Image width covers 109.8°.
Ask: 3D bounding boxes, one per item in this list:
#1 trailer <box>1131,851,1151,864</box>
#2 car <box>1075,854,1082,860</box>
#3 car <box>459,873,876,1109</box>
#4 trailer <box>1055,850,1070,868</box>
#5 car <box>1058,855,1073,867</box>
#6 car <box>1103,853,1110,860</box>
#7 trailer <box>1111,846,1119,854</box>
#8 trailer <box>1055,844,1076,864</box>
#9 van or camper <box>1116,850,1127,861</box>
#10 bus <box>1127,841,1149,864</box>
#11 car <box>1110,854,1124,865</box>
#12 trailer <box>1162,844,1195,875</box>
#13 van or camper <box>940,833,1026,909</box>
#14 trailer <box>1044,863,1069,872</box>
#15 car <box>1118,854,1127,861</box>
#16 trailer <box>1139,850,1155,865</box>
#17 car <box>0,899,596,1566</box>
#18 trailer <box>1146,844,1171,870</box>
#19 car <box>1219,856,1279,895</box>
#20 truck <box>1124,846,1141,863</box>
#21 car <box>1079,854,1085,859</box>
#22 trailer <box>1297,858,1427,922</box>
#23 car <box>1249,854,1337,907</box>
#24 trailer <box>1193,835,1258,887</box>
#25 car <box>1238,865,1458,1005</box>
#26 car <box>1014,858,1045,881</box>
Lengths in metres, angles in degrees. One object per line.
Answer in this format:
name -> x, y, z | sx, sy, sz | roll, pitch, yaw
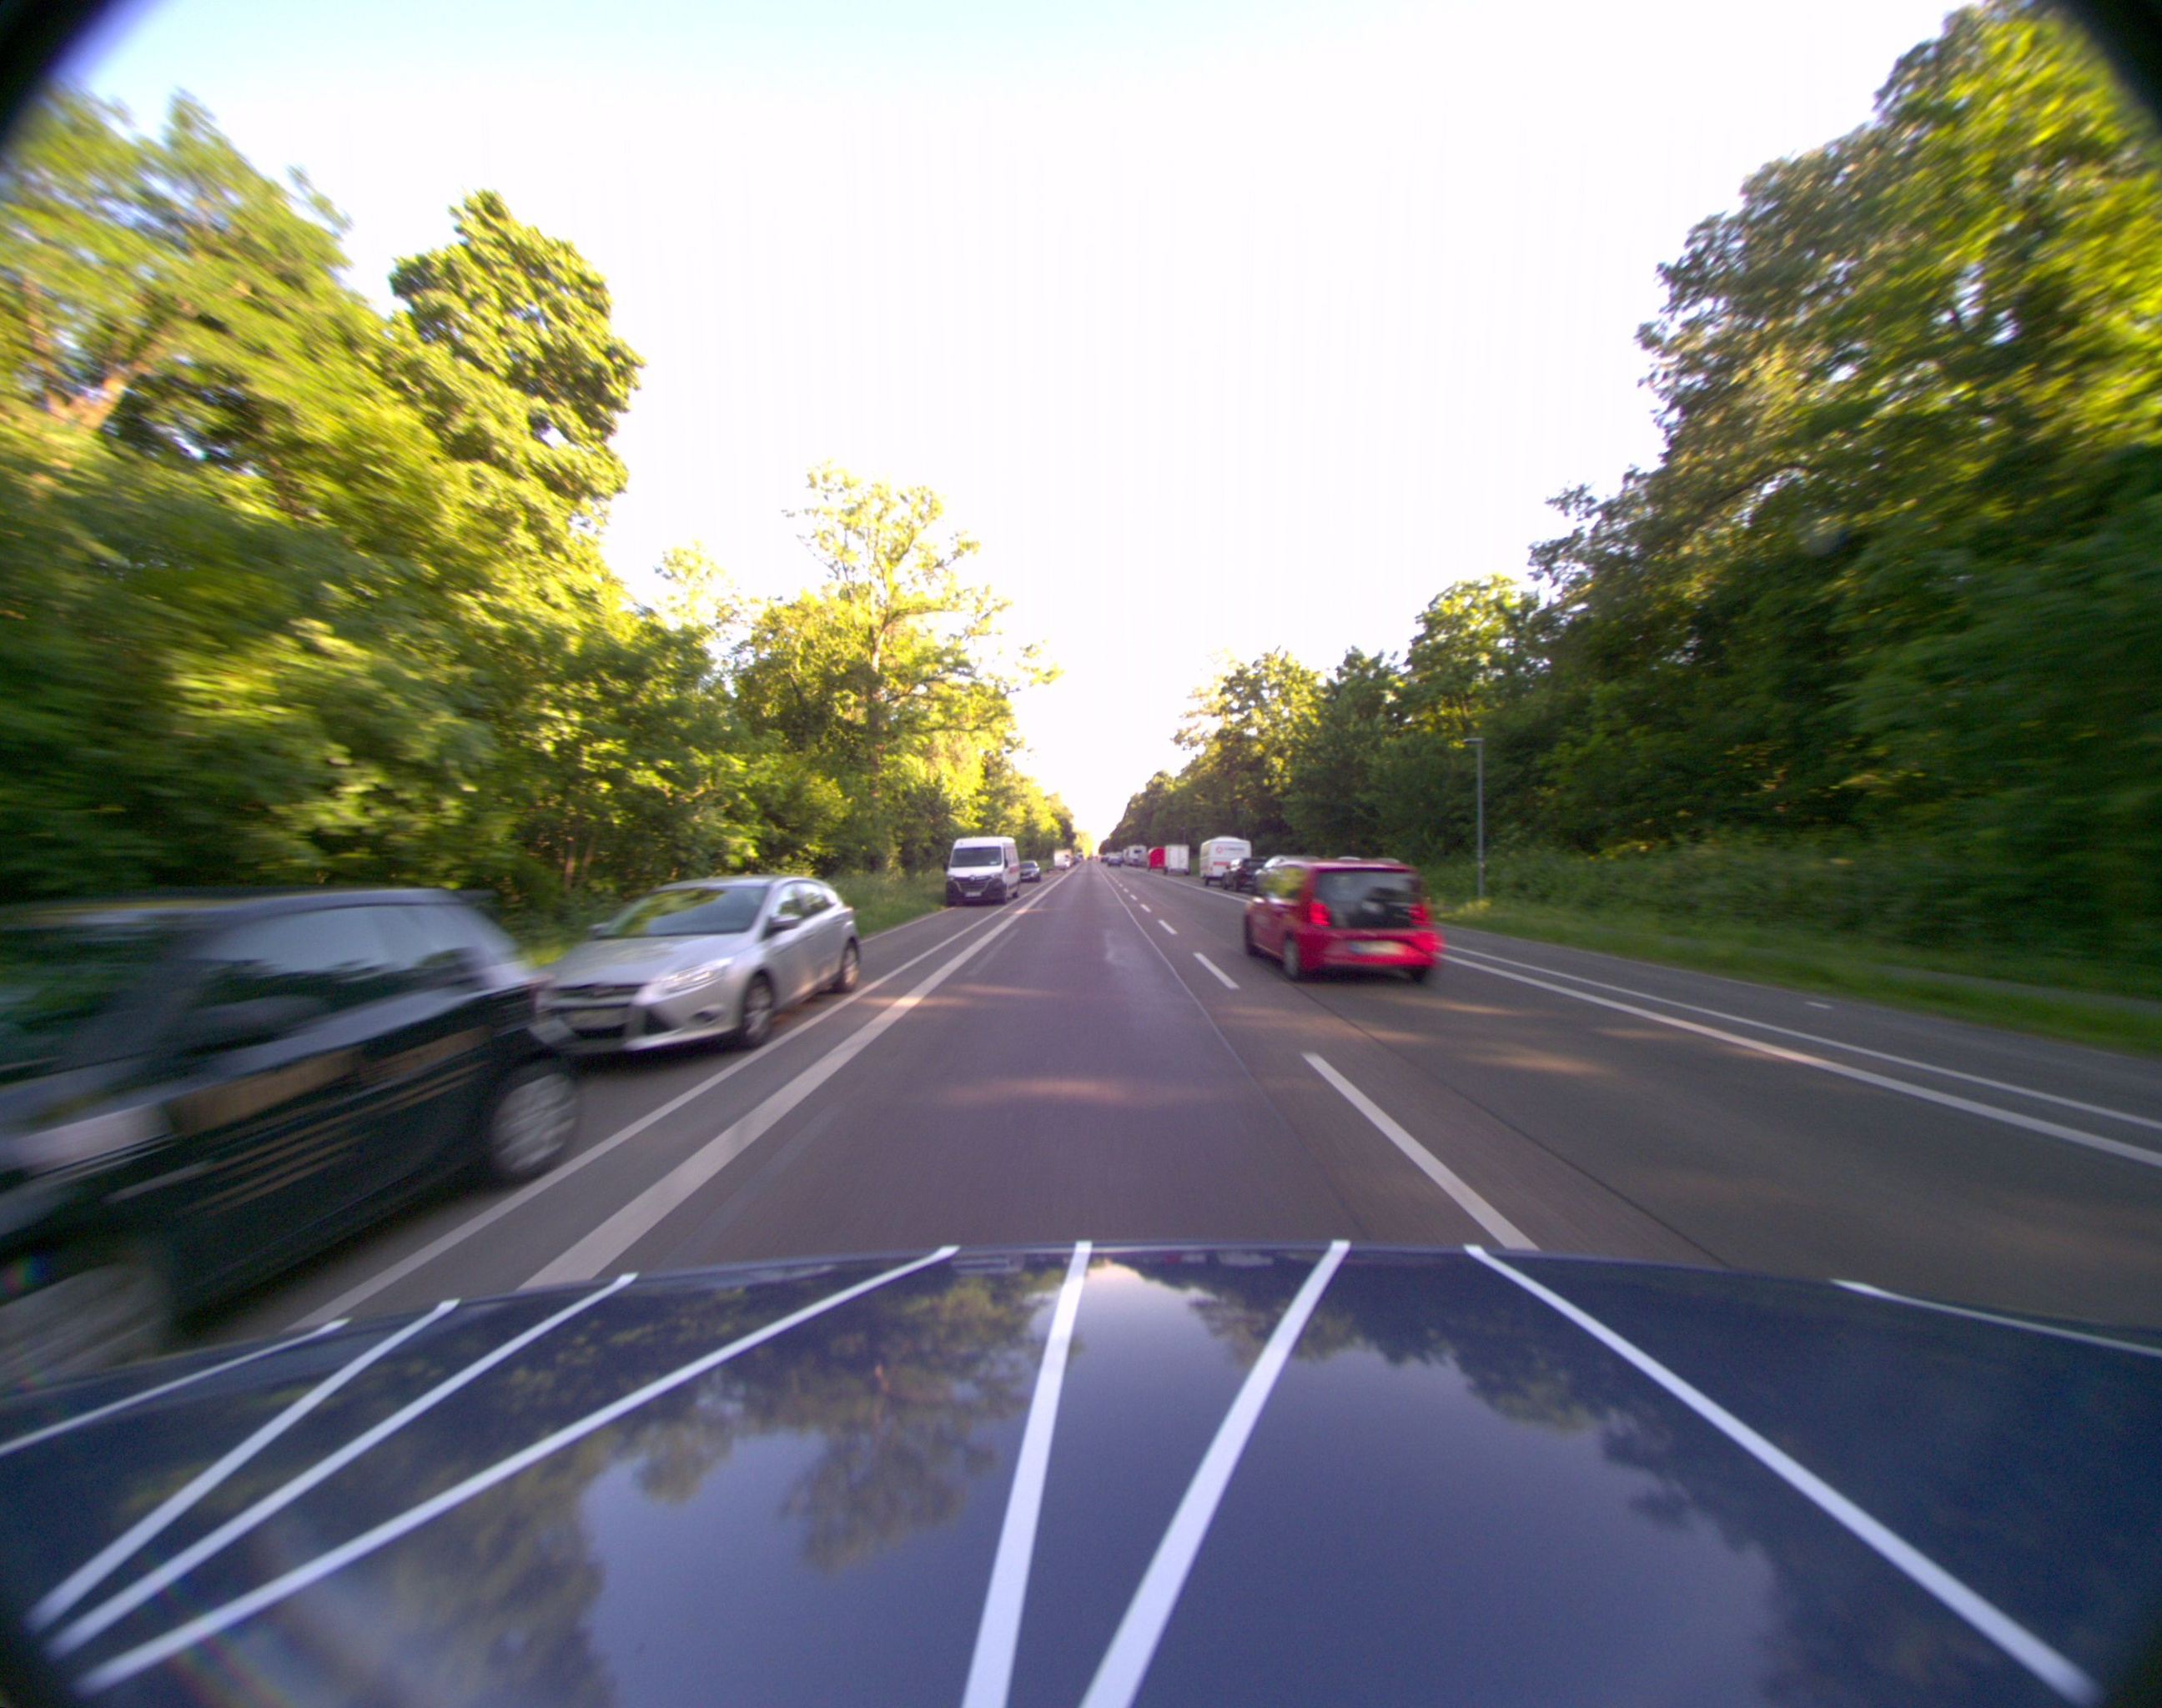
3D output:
trailer -> 9.046, 0.536, 115.024 | 2.434, 1.903, 6.264 | -2, 0, 1
car -> -0.590, 0.717, 210.441 | 1.837, 1.608, 4.000 | -2, 0, 1
car -> -3.547, 1.037, 7.638 | 1.739, 1.479, 4.400 | -3, 0, 0
trailer -> -2.319, 0.613, 97.305 | 1.758, 2.149, 3.539 | -1, 0, 0
car -> -2.082, 0.940, 103.243 | 1.892, 1.459, 4.569 | -2, 0, 1
car -> 6.130, 0.560, 183.364 | 1.823, 1.577, 4.459 | 0, 1, 1
trailer -> 10.232, -1.213, 228.259 | 1.998, 2.227, 4.000 | -2, 1, 1
trailer -> -2.371, 0.002, 119.965 | 2.928, 2.825, 9.882 | -4, 1, 0
van or camper -> 9.786, 0.304, 183.514 | 2.253, 2.599, 5.985 | -1, 0, 1
bus -> 9.233, -0.258, 123.782 | 2.835, 3.411, 11.199 | -2, 1, 1
car -> 5.135, 0.725, 108.957 | 1.824, 1.524, 4.530 | 0, 1, 1
trailer -> 7.910, 0.414, 61.829 | 2.072, 2.466, 3.560 | -1, 0, -2
van or camper -> -3.461, 0.551, 28.199 | 2.130, 2.468, 6.305 | -1, 0, 2
trailer -> -2.598, 1.432, 82.351 | 2.439, 0.794, 5.659 | -2, 0, 1
car -> 9.299, 0.780, 171.300 | 1.787, 1.485, 4.002 | 0, 0, 5
trailer -> 8.826, 0.445, 101.335 | 1.857, 2.002, 3.561 | 2, 0, 1
car -> -3.508, 1.048, 2.660 | 1.590, 1.521, 3.011 | -3, 0, 1
trailer -> 7.788, 0.297, 76.609 | 2.072, 2.466, 3.560 | -1, 0, -2
car -> 7.238, 0.881, 33.091 | 1.675, 1.486, 4.194 | 2, 1, 1
truck -> 9.140, 0.088, 135.055 | 2.489, 2.807, 8.424 | -2, 0, 1
car -> 0.253, 0.688, 256.379 | 1.837, 1.608, 4.000 | -2, 0, 1
trailer -> 7.345, 0.874, 20.373 | 1.845, 1.457, 4.466 | -1, 0, 1
car -> 7.311, 0.838, 26.760 | 1.675, 1.565, 5.127 | 2, 1, 1
trailer -> 7.406, 0.328, 39.459 | 2.352, 2.514, 4.343 | -1, 0, -2
car -> 3.173, 0.876, 9.751 | 1.608, 1.412, 3.518 | 0, 0, 1
car -> -3.472, 1.012, 51.473 | 1.839, 1.412, 4.596 | -4, 0, -2
